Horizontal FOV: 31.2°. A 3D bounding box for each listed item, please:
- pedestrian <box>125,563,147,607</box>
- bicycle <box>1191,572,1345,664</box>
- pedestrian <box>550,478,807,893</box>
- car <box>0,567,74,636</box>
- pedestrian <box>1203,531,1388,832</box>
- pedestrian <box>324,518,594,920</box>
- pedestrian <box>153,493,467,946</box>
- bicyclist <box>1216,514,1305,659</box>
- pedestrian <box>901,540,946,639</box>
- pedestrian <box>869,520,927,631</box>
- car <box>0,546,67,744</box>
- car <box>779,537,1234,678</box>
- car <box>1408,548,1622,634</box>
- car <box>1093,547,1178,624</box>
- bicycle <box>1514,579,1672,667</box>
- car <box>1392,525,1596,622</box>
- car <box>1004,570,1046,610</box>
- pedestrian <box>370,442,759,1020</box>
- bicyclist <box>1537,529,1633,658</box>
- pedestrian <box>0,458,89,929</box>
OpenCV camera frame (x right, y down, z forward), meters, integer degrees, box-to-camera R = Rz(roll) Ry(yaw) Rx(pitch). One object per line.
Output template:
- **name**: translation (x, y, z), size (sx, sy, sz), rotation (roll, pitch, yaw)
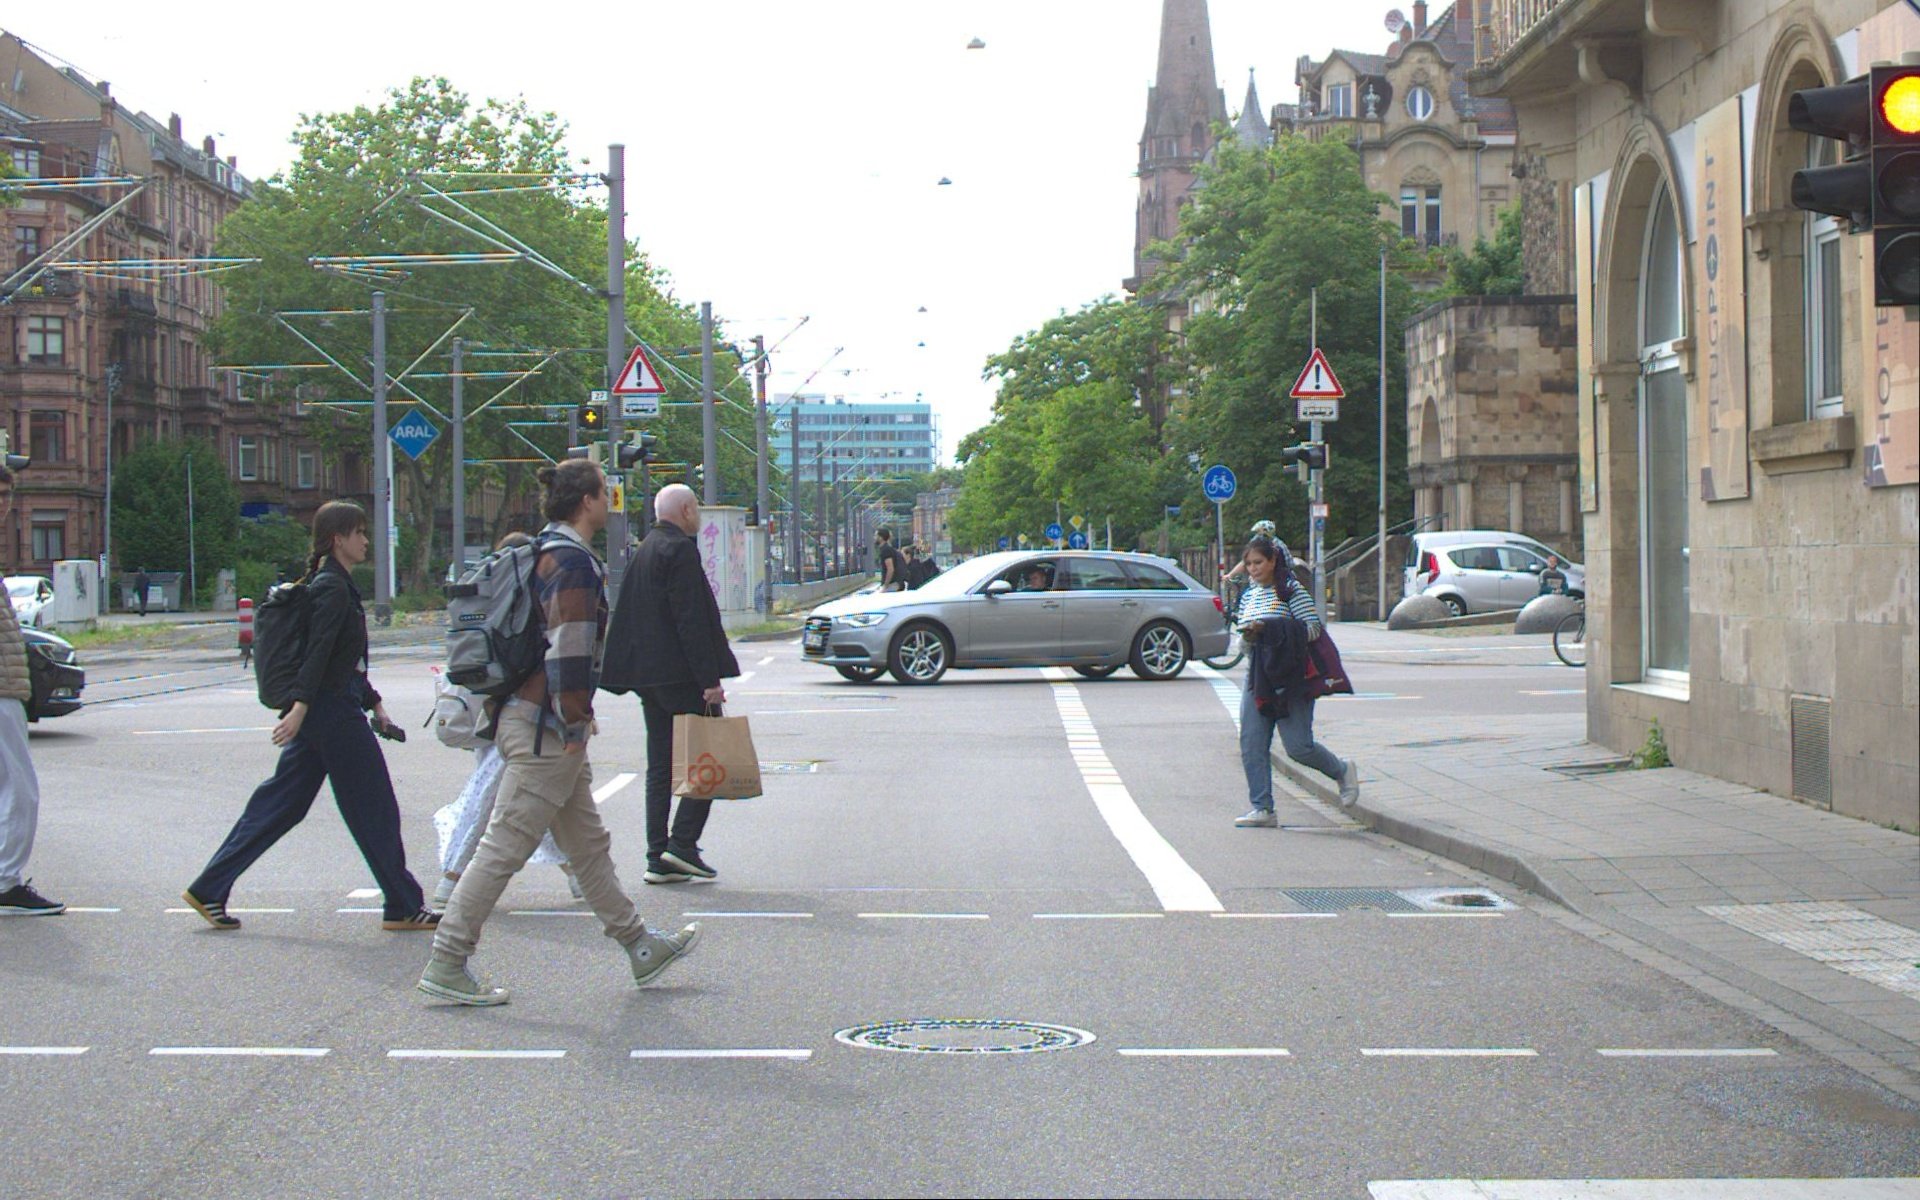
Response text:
- **pedestrian**: translation (-27.394, -0.493, 114.310), size (0.452, 1.455, 0.524), rotation (1, 0, 43)
- **bicycle**: translation (3.883, 0.230, 43.322), size (1.899, 1.138, 0.629), rotation (0, 0, -29)
- **pedestrian**: translation (-1.250, 0.359, 15.268), size (0.917, 1.778, 0.646), rotation (1, 0, 37)
- **car**: translation (-22.247, 0.016, 80.799), size (1.894, 1.552, 3.836), rotation (1, 1, -1)
- **pedestrian**: translation (1.928, 0.451, 19.703), size (0.671, 1.674, 0.866), rotation (1, 0, 38)
- **pedestrian**: translation (-2.056, 0.467, 14.148), size (0.702, 1.587, 0.829), rotation (1, 0, 37)
- **pedestrian**: translation (-2.462, 0.431, 13.081), size (0.627, 1.647, 0.994), rotation (1, 0, 37)
- **bicyclist**: translation (3.781, -0.167, 43.256), size (0.965, 1.813, 0.532), rotation (1, 0, -29)
- **pedestrian**: translation (-0.568, -0.168, 53.639), size (0.653, 1.532, 0.466), rotation (1, 0, -5)
- **pedestrian**: translation (-0.933, -0.366, 51.661), size (0.850, 1.648, 0.508), rotation (1, 0, -2)
- **car**: translation (-9.251, 0.317, 26.291), size (4.431, 1.505, 1.839), rotation (1, 1, -24)
- **car**: translation (0.521, 0.089, 38.338), size (4.716, 1.505, 1.839), rotation (1, 1, -22)
- **car**: translation (10.709, -0.178, 66.545), size (3.799, 1.595, 2.000), rotation (1, 0, 0)
- **car**: translation (4.666, -0.401, 91.871), size (1.993, 2.007, 4.000), rotation (1, 1, -1)
- **bicycle**: translation (8.335, 0.299, 45.280), size (1.937, 1.132, 0.736), rotation (1, 0, -21)
- **car**: translation (10.832, -0.533, 69.954), size (3.799, 1.897, 2.000), rotation (1, 0, 0)
- **car**: translation (3.271, -0.513, 173.969), size (1.993, 2.007, 4.000), rotation (1, 1, -1)
- **pedestrian**: translation (-1.274, 0.398, 11.009), size (1.130, 1.772, 0.628), rotation (0, 0, -18)
- **bicyclist**: translation (8.227, -0.090, 45.246), size (1.038, 1.678, 0.645), rotation (1, 0, -20)
- **pedestrian**: translation (-3.967, 0.355, 13.389), size (1.011, 1.807, 0.585), rotation (1, 0, -23)
